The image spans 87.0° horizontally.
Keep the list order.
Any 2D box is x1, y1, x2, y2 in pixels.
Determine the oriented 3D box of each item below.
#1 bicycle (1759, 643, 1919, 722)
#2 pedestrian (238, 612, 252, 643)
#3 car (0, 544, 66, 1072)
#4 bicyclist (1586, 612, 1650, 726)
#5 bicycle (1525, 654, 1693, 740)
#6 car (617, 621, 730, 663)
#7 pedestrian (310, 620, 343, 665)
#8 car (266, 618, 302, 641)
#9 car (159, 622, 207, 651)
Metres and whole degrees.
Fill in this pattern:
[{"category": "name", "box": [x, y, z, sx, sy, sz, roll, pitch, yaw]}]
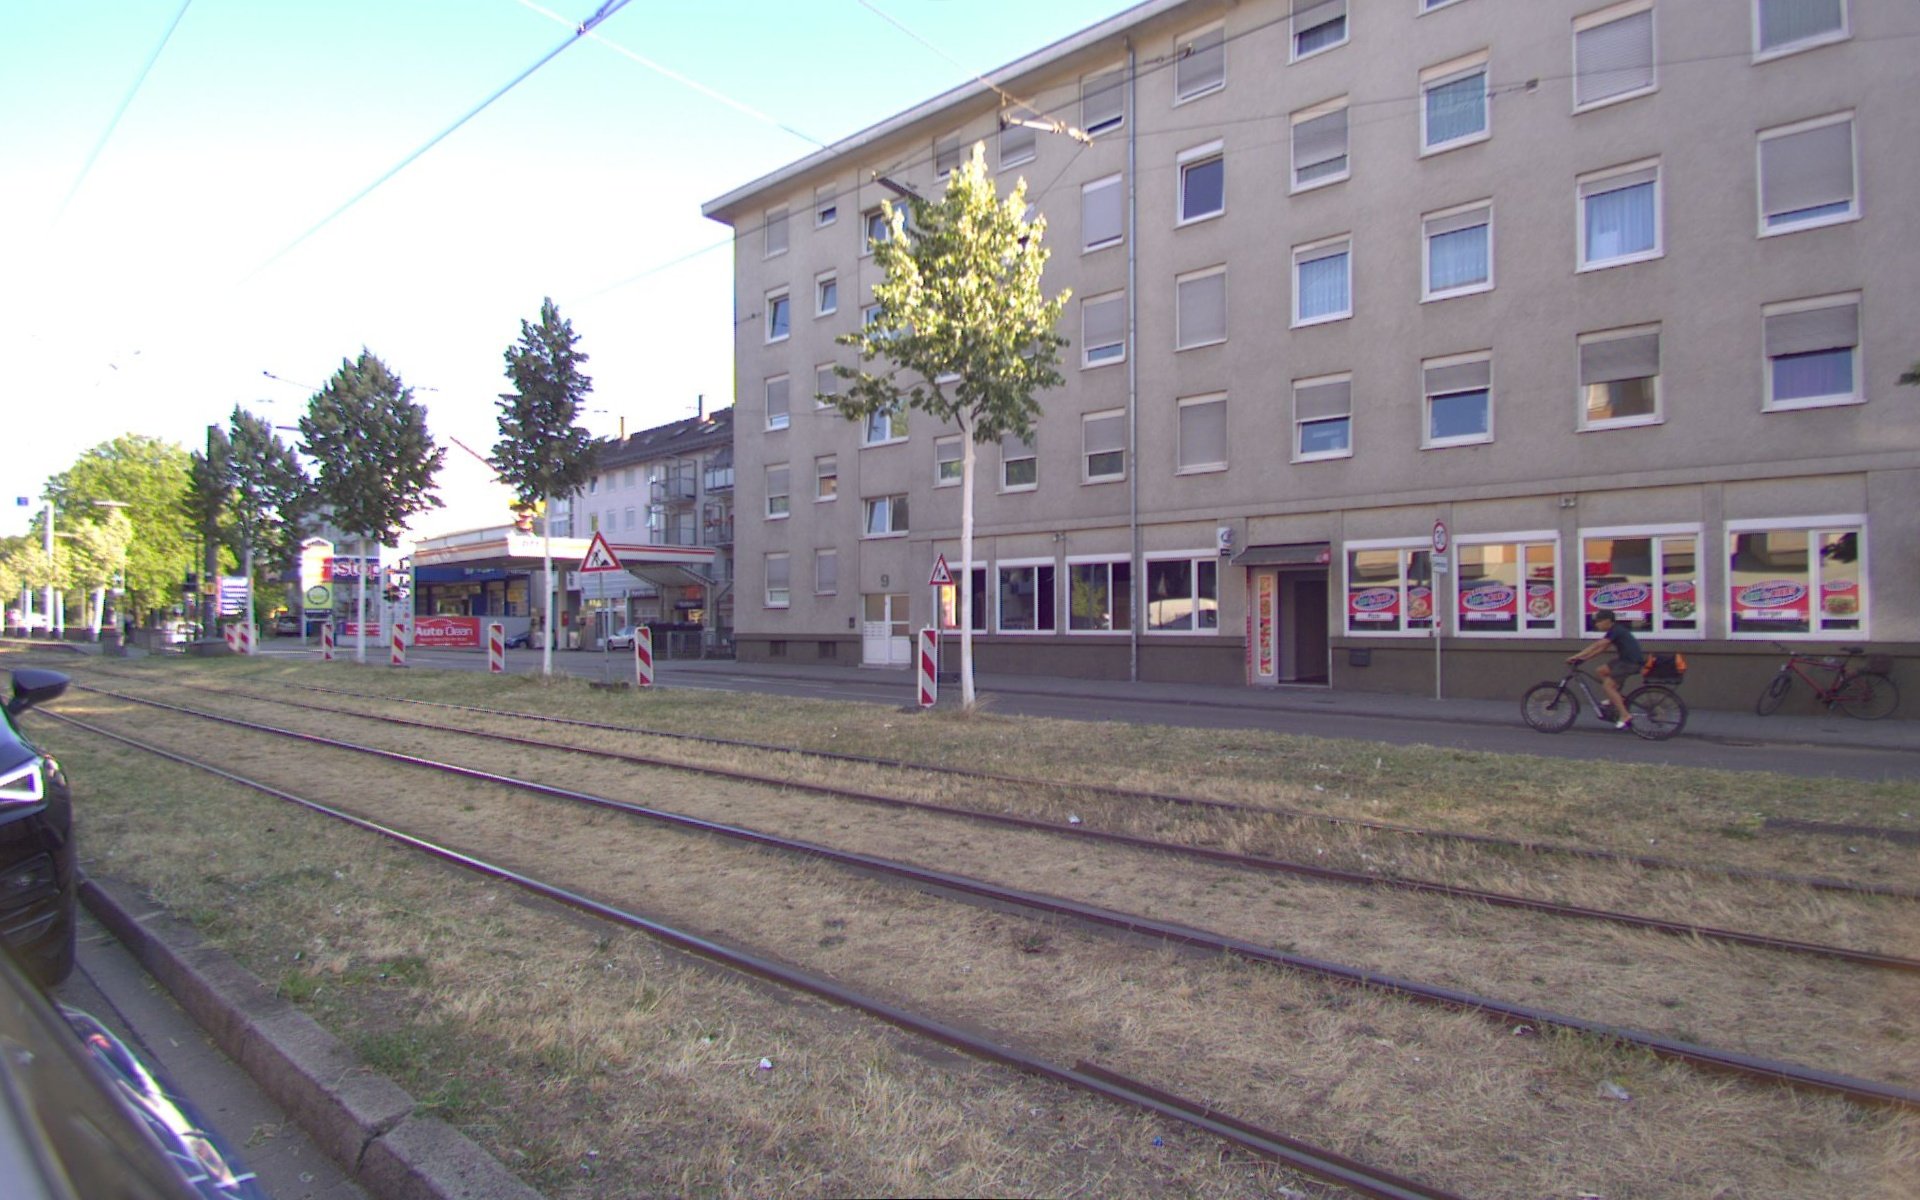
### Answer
[{"category": "bicycle", "box": [12.806, 1.176, 14.701, 1.844, 1.031, 0.601, -1, 0, 41]}, {"category": "pedestrian", "box": [-48.091, 1.855, 68.106, 0.583, 2.029, 0.623, -2, -2, 42]}, {"category": "car", "box": [-5.056, 0.718, 4.011, 3.998, 1.690, 1.752, -1, 0, 41]}, {"category": "bicyclist", "box": [8.766, 0.896, 13.475, 0.649, 1.457, 0.770, -1, -2, 37]}, {"category": "bicycle", "box": [8.657, 1.261, 13.546, 1.857, 1.052, 0.442, -1, -2, 36]}, {"category": "car", "box": [-10.748, 1.588, 38.112, 1.906, 1.481, 3.680, -4, -4, 40]}, {"category": "pedestrian", "box": [-18.295, 1.225, 29.227, 0.581, 1.280, 0.655, -2, -1, 42]}, {"category": "car", "box": [-49.993, 2.168, 74.804, 1.756, 1.567, 4.006, -1, 0, -40]}, {"category": "car", "box": [-47.174, 2.171, 61.421, 3.828, 1.622, 1.701, -1, 0, 43]}]
